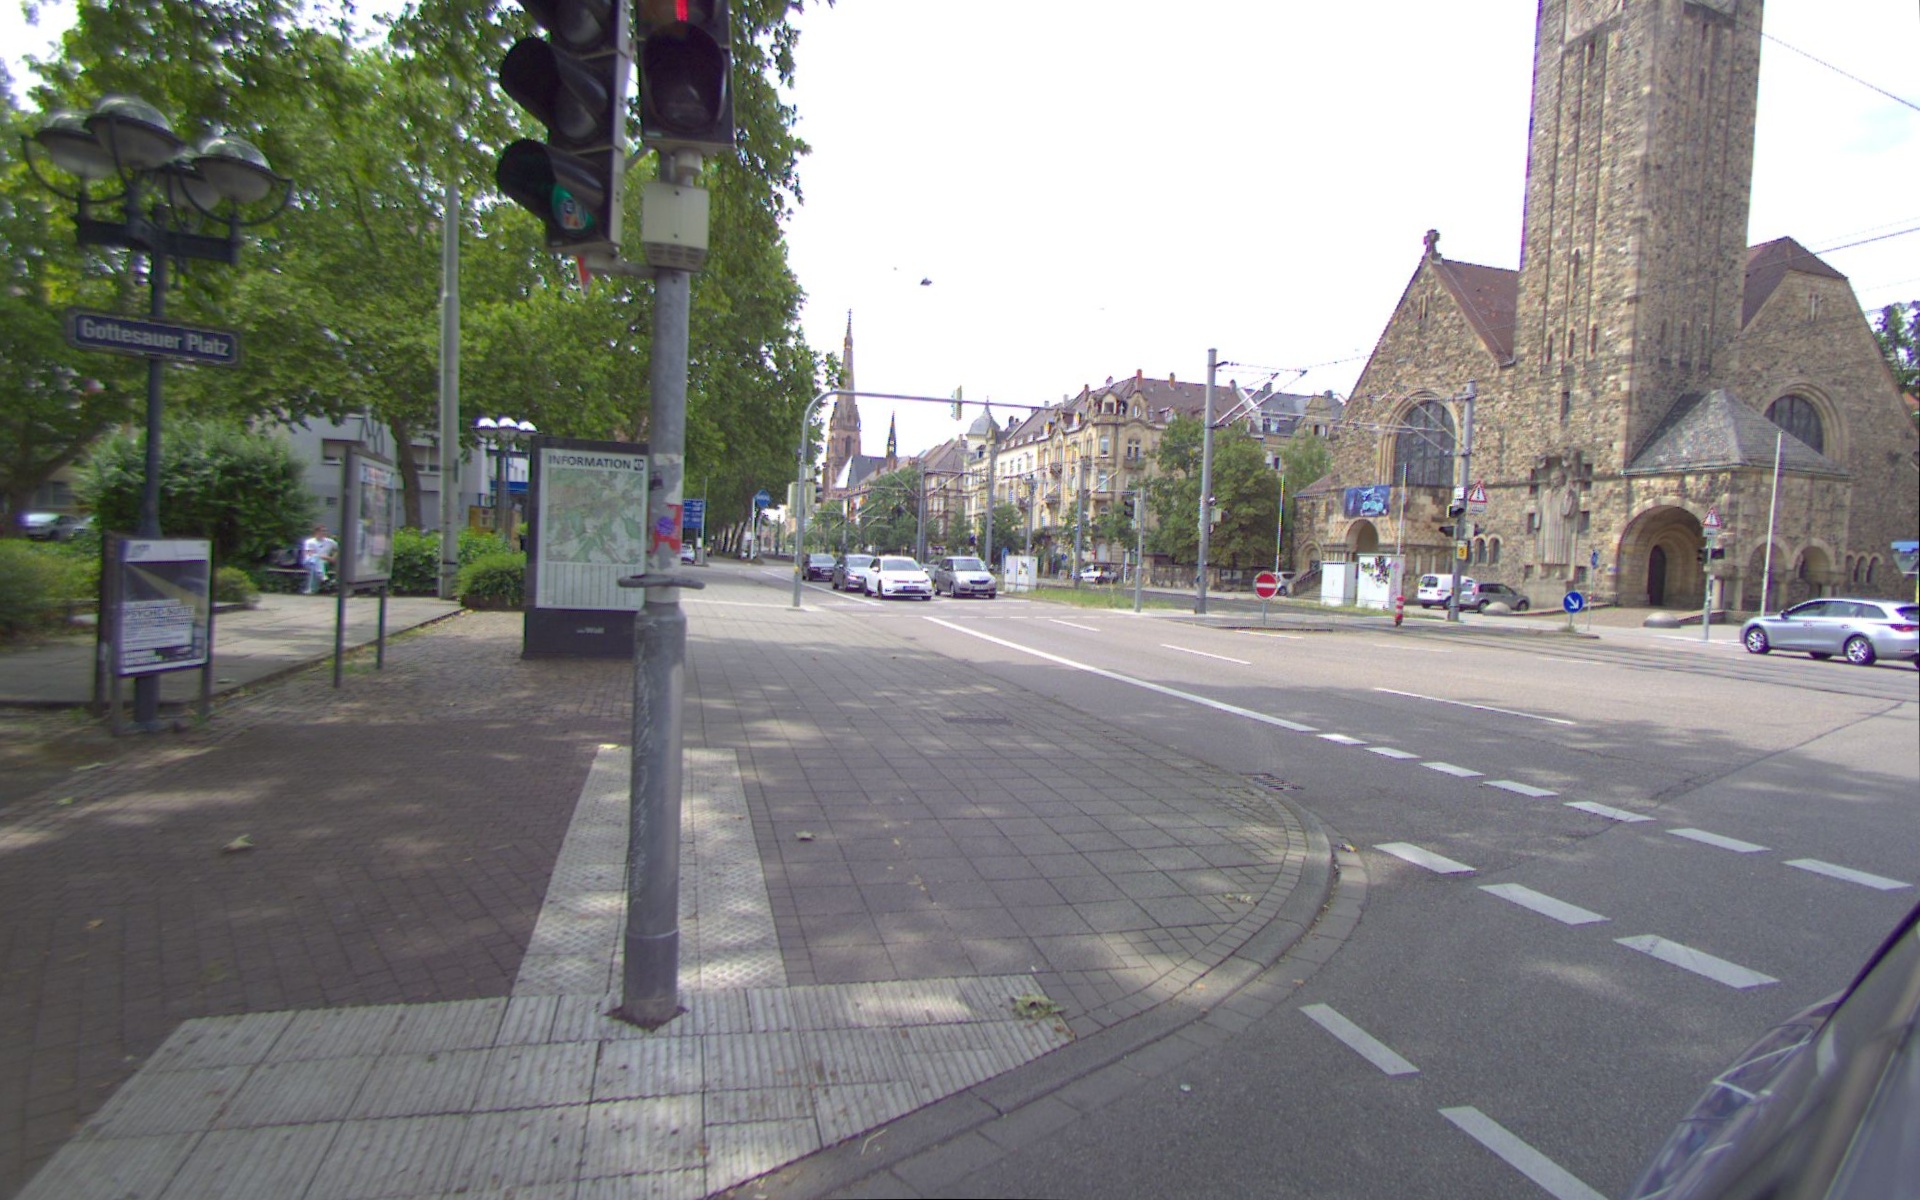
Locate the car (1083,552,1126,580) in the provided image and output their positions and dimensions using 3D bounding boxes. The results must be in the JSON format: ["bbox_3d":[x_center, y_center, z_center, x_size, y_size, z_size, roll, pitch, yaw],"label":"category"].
[{"bbox_3d":[11.643,-2.781,81.804,1.958,2.038,4.011,3,2,-16],"label":"car"}]

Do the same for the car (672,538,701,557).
[{"bbox_3d":[-20.434,-3.919,75.685,1.958,1.281,4.010,3,2,-15],"label":"car"}]

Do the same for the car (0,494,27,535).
[{"bbox_3d":[-45.089,-3.980,46.372,1.958,1.838,4.011,2,2,-18],"label":"car"}]

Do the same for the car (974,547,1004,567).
[{"bbox_3d":[3.228,-4.771,112.366,1.958,2.038,4.011,2,2,-18],"label":"car"}]

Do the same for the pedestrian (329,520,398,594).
[{"bbox_3d":[-11.430,-0.828,19.431,0.849,1.334,1.182,3,2,-18],"label":"pedestrian"}]

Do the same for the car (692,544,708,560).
[{"bbox_3d":[-35.876,-6.633,139.834,1.958,2.038,4.010,3,2,-16],"label":"car"}]

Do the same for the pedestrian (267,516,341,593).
[{"bbox_3d":[-12.256,-0.852,18.953,0.849,1.334,1.182,3,2,-18],"label":"pedestrian"}]

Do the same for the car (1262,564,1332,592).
[{"bbox_3d":[22.376,-1.467,67.331,3.871,1.661,2.005,2,2,-16],"label":"car"}]

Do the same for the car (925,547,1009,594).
[{"bbox_3d":[0.194,-1.123,36.985,1.800,1.530,4.299,3,2,-17],"label":"car"}]

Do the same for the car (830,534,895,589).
[{"bbox_3d":[-3.981,-1.601,40.677,1.958,2.038,4.011,2,3,-14],"label":"car"}]

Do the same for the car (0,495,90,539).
[{"bbox_3d":[-42.638,-3.818,46.995,1.958,1.838,4.011,2,2,-18],"label":"car"}]

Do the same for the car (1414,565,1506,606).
[{"bbox_3d":[26.363,-0.764,53.409,3.871,1.904,2.005,2,2,-16],"label":"car"}]

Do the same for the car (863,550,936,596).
[{"bbox_3d":[-2.152,-0.976,34.999,1.801,1.400,4.298,3,2,-13],"label":"car"}]

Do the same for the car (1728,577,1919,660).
[{"bbox_3d":[19.908,0.365,22.478,1.734,1.542,4.852,3,2,-3],"label":"car"}]

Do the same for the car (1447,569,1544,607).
[{"bbox_3d":[26.711,-0.597,50.520,3.915,1.671,2.005,2,2,-16],"label":"car"}]
